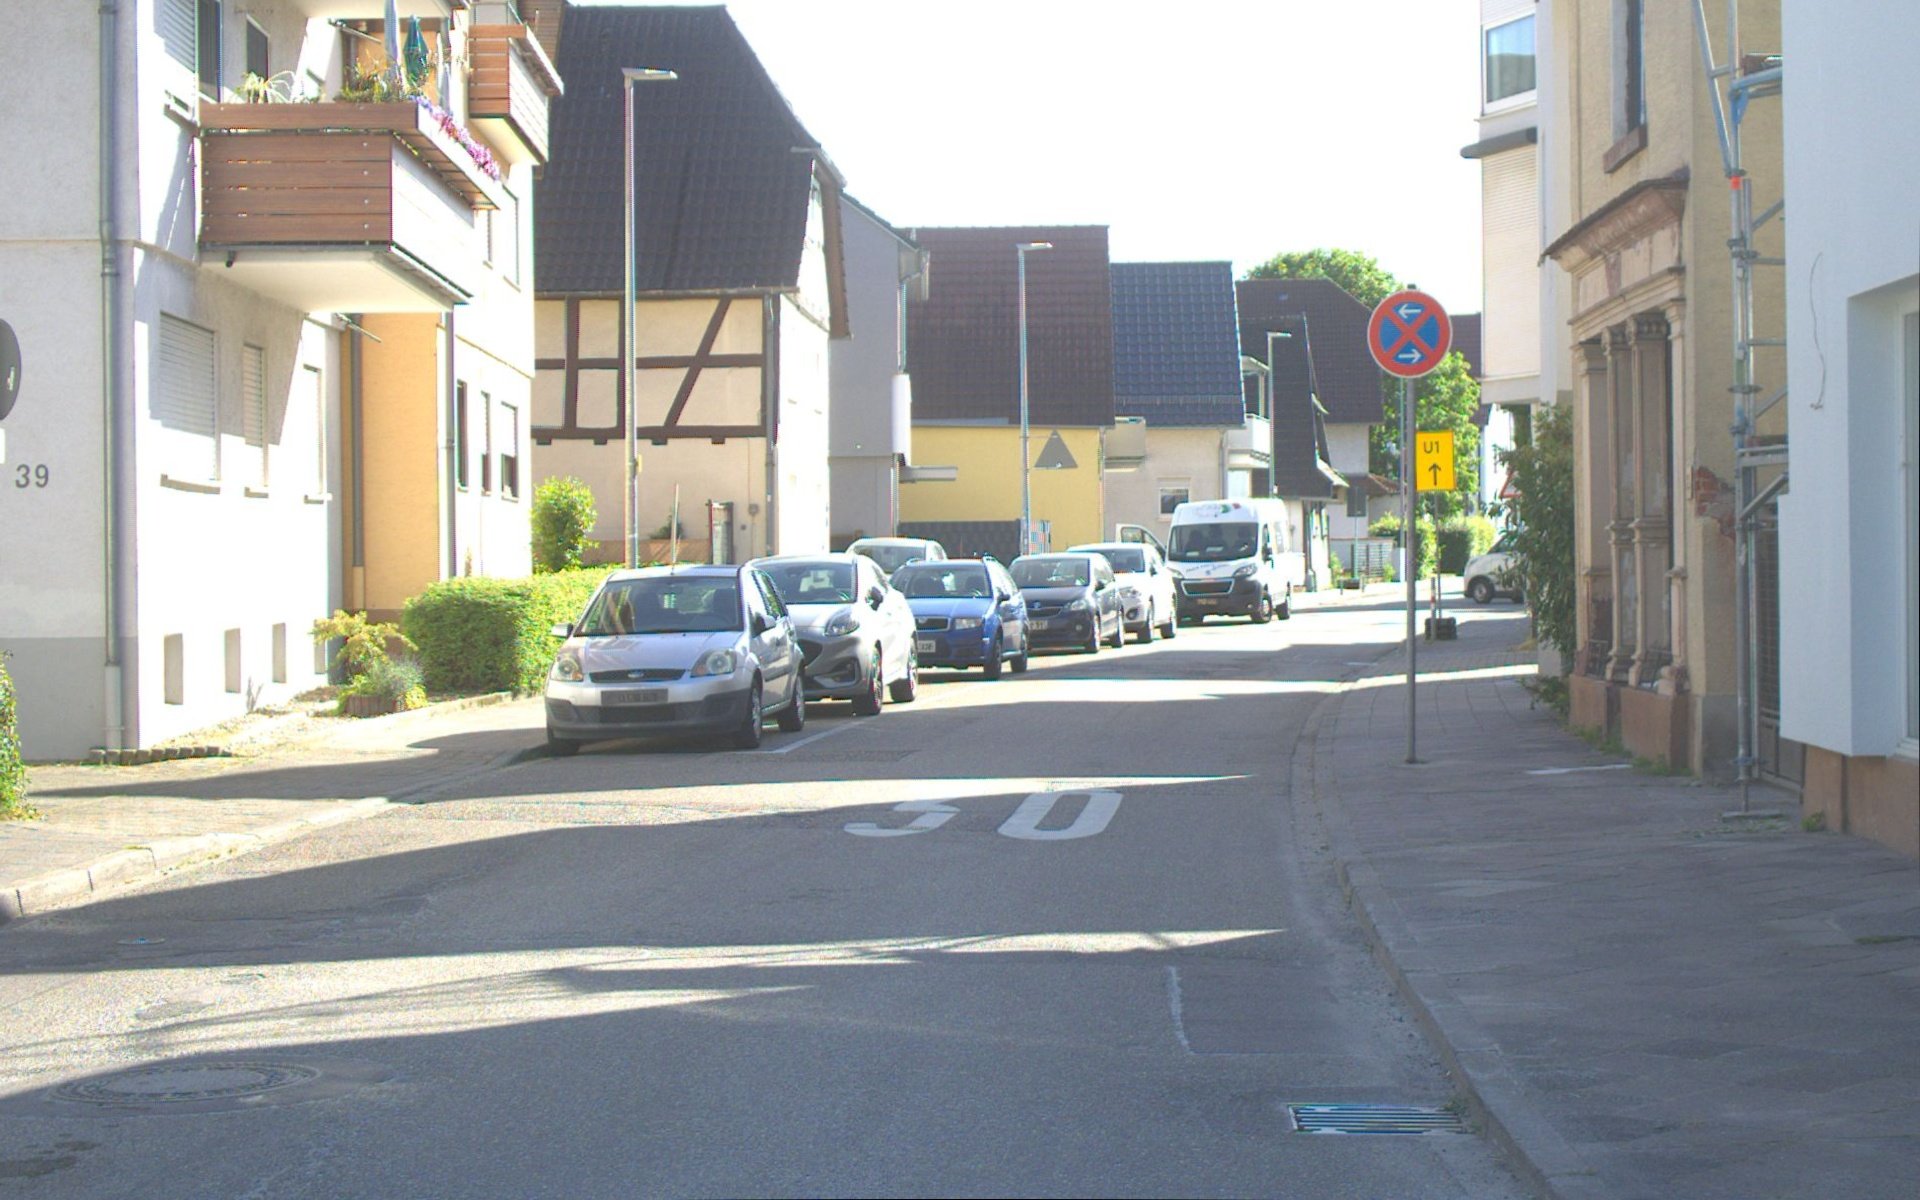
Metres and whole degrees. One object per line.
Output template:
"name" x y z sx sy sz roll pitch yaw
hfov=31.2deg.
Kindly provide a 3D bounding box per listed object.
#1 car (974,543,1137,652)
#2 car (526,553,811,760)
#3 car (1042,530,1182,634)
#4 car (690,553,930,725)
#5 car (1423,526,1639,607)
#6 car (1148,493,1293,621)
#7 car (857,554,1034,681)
"car" 1.479 -0.063 51.655 1.704 1.513 4.120 -2 0 11
"car" -2.319 0.410 28.247 1.631 1.500 3.852 -2 1 5
"car" 2.512 -0.320 56.102 1.674 1.566 3.964 -2 1 11
"car" -1.392 0.335 33.453 1.674 1.500 4.094 -1 1 6
"car" 13.846 -0.798 83.431 4.774 1.795 1.923 -1 2 37
"car" 5.253 -0.875 68.674 2.078 2.386 5.206 -2 1 13
"car" -0.131 0.183 42.137 1.639 1.436 4.074 -1 1 7
